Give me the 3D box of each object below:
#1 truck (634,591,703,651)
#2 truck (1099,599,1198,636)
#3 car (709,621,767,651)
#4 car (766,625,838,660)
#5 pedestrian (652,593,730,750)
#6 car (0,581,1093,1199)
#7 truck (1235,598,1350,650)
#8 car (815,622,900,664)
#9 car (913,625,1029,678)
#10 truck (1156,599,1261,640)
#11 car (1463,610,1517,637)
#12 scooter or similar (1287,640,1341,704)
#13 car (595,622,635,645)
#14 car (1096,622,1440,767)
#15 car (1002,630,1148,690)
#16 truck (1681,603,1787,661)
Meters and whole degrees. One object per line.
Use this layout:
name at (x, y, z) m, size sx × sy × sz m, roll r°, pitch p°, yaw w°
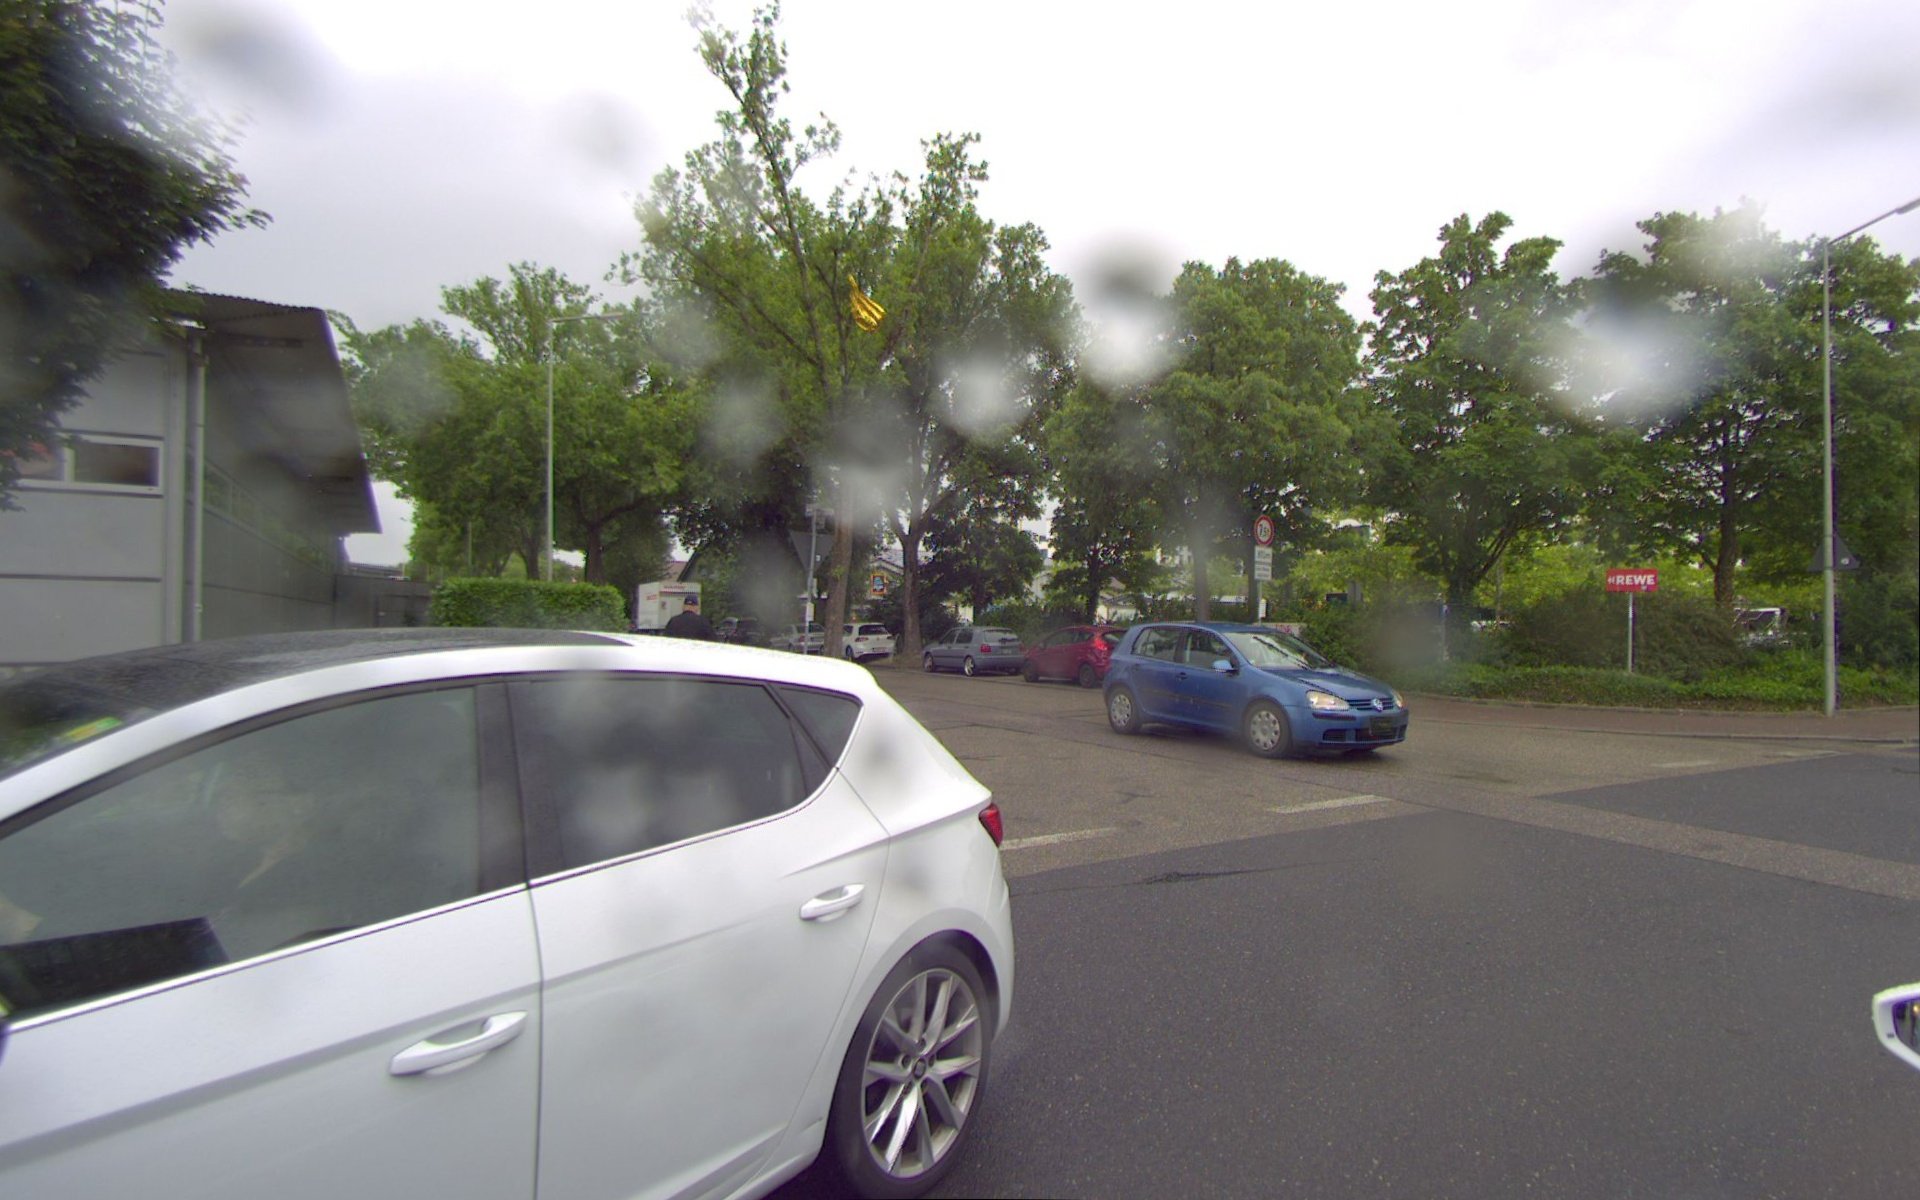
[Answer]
truck at (-18.273, 1.336, 62.671) m, size 2.572 × 3.515 × 6.762 m, roll 1°, pitch -2°, yaw -30°
truck at (11.193, 1.058, 59.436) m, size 6.065 × 2.087 × 1.983 m, roll 2°, pitch -2°, yaw -32°
car at (-11.039, 1.760, 49.749) m, size 1.715 × 1.401 × 4.066 m, roll 1°, pitch -2°, yaw -29°
car at (-6.679, 1.744, 42.066) m, size 1.715 × 1.401 × 4.066 m, roll 1°, pitch -2°, yaw -29°
pedestrian at (-3.012, 0.786, 11.327) m, size 0.745 × 1.696 × 0.781 m, roll 1°, pitch -1°, yaw -9°
car at (-1.441, 0.739, 2.076) m, size 1.708 × 1.460 × 3.986 m, roll -1°, pitch -2°, yaw 36°
truck at (17.565, 1.301, 52.999) m, size 6.315 × 2.636 × 1.986 m, roll 1°, pitch -1°, yaw -28°
car at (-3.846, 1.577, 37.247) m, size 1.715 × 1.460 × 3.970 m, roll 1°, pitch -2°, yaw -29°
car at (0.244, 1.497, 29.809) m, size 1.715 × 1.460 × 3.970 m, roll 1°, pitch -2°, yaw -29°
truck at (13.796, 1.110, 55.673) m, size 6.065 × 2.122 × 1.983 m, roll 1°, pitch -1°, yaw -32°
car at (42.170, 1.863, 79.933) m, size 3.951 × 2.040 × 1.985 m, roll 2°, pitch -1°, yaw -29°
scooter or similar at (6.786, 1.371, 19.243) m, size 1.045 × 1.191 × 0.283 m, roll 1°, pitch -1°, yaw -22°
car at (-24.817, 2.408, 72.168) m, size 1.904 × 1.593 × 3.966 m, roll 1°, pitch -2°, yaw -31°
car at (3.546, 1.022, 12.305) m, size 1.715 × 1.460 × 3.970 m, roll 1°, pitch -2°, yaw -29°
car at (2.829, 1.456, 25.479) m, size 1.715 × 1.381 × 3.970 m, roll 1°, pitch -2°, yaw -29°
truck at (38.942, 1.634, 50.490) m, size 6.392 × 2.789 × 1.984 m, roll 2°, pitch -1°, yaw -31°
